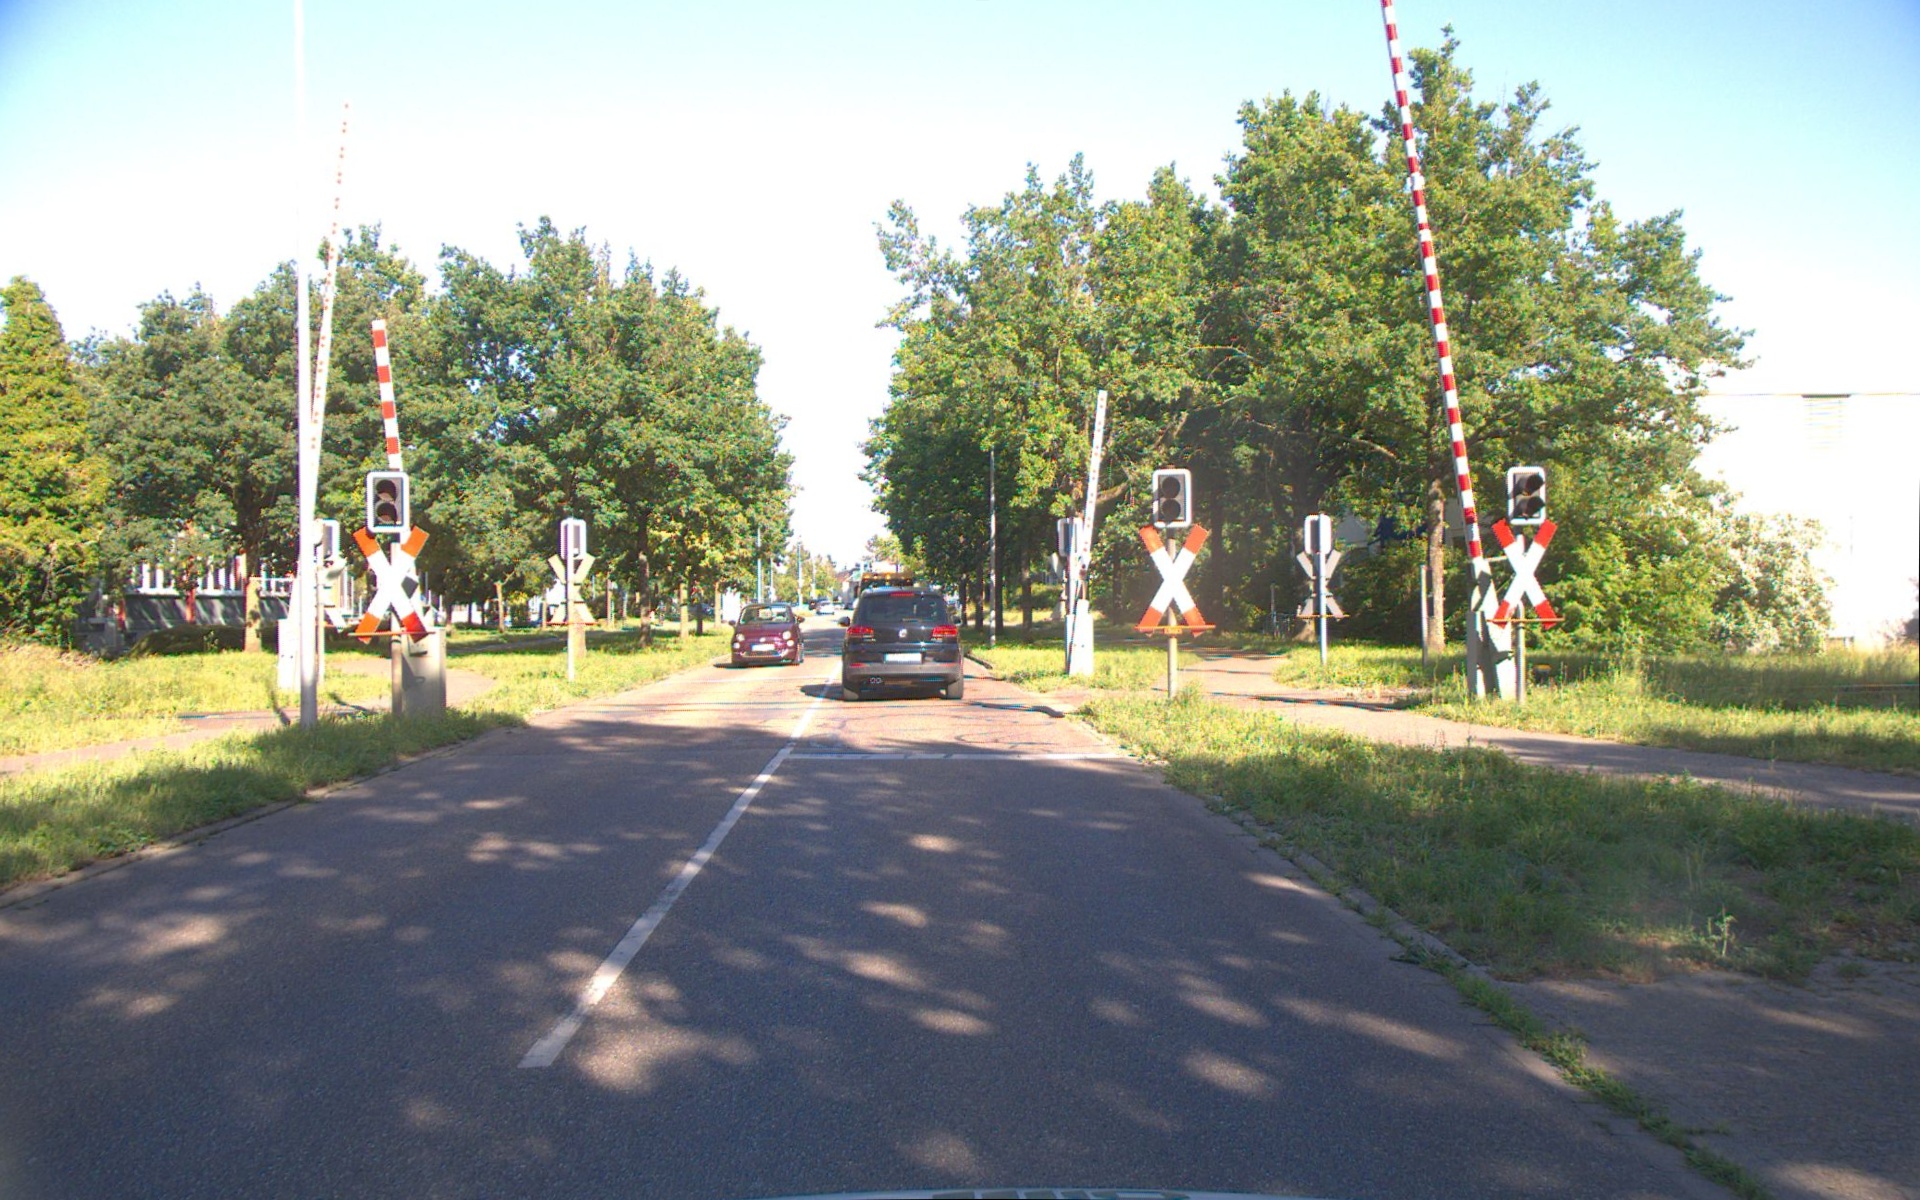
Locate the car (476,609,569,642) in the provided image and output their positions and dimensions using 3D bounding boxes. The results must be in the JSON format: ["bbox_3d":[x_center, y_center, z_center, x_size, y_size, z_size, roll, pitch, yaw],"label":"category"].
[{"bbox_3d":[-28.259,1.650,107.093,5.690,2.049,1.993,1,0,-13],"label":"car"}]

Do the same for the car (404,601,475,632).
[{"bbox_3d":[-29.414,0.924,93.478,3.289,1.671,2.001,1,0,2],"label":"car"}]

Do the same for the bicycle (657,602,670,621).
[{"bbox_3d":[-21.879,0.850,122.065,0.703,1.344,1.990,1,0,-3],"label":"bicycle"}]

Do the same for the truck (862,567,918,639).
[{"bbox_3d":[-3.349,0.134,80.795,2.461,3.300,8.150,-1,0,-1],"label":"truck"}]

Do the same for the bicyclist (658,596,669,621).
[{"bbox_3d":[-21.878,0.631,122.141,0.672,1.863,0.933,1,0,-4],"label":"bicyclist"}]

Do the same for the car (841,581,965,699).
[{"bbox_3d":[-0.843,0.573,25.670,1.746,1.662,3.999,1,0,-1],"label":"car"}]

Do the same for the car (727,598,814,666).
[{"bbox_3d":[-4.555,0.740,40.241,1.533,1.531,4.001,1,0,1],"label":"car"}]

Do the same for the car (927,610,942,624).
[{"bbox_3d":[-2.636,1.772,170.643,1.423,1.430,2.854,1,0,-2],"label":"car"}]

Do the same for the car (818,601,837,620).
[{"bbox_3d":[-15.188,1.168,189.092,1.956,2.049,3.993,1,0,-8],"label":"car"}]
